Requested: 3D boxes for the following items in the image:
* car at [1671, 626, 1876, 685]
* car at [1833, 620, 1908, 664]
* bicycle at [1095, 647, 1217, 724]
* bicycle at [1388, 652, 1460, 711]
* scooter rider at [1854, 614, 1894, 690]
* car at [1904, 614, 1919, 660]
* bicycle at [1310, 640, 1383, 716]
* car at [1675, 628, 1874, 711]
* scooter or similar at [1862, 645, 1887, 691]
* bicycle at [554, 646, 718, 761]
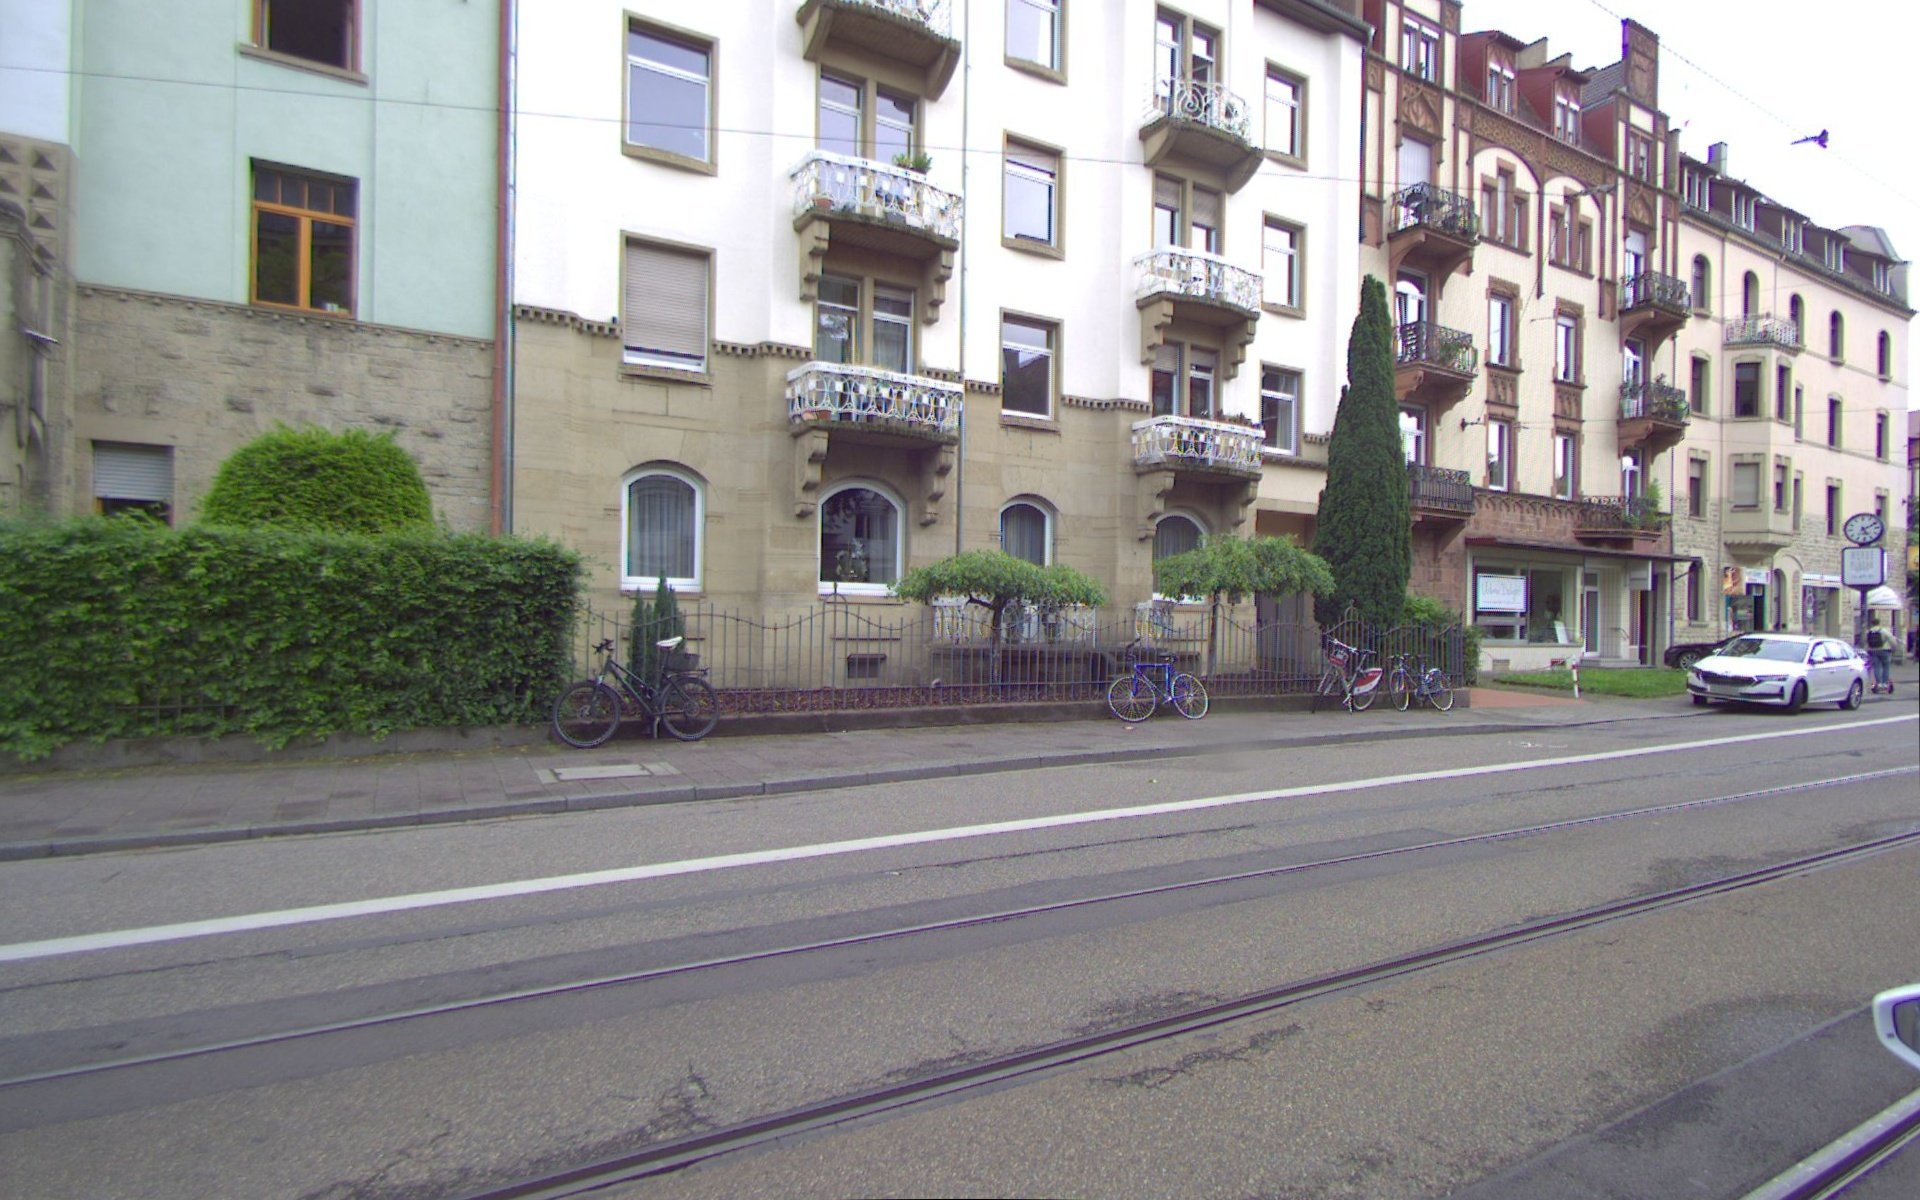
[{"bbox_3d":[24.297,1.600,30.162,1.861,1.389,4.397,1,1,-34],"label":"car"},{"bbox_3d":[56.135,2.540,62.016,2.146,2.561,5.373,0,-1,28],"label":"car"},{"bbox_3d":[2.724,1.166,13.918,1.640,0.938,0.358,1,-19,-28],"label":"bicycle"},{"bbox_3d":[7.887,1.362,17.061,1.498,0.950,0.330,1,-1,-31],"label":"bicycle"},{"bbox_3d":[25.059,1.420,27.542,0.749,2.040,0.639,1,-1,-30],"label":"scooter rider"},{"bbox_3d":[51.860,1.971,52.091,2.142,2.449,5.382,1,-1,18],"label":"car"},{"bbox_3d":[6.065,1.193,15.716,1.613,1.116,0.381,2,-1,-42],"label":"bicycle"},{"bbox_3d":[16.674,1.356,20.513,4.557,1.504,1.738,1,-1,-31],"label":"car"},{"bbox_3d":[25.036,1.857,27.487,0.942,1.250,0.230,1,-1,-30],"label":"scooter or similar"},{"bbox_3d":[-3.265,1.018,10.183,1.528,1.098,0.358,1,-1,-31],"label":"bicycle"}]
